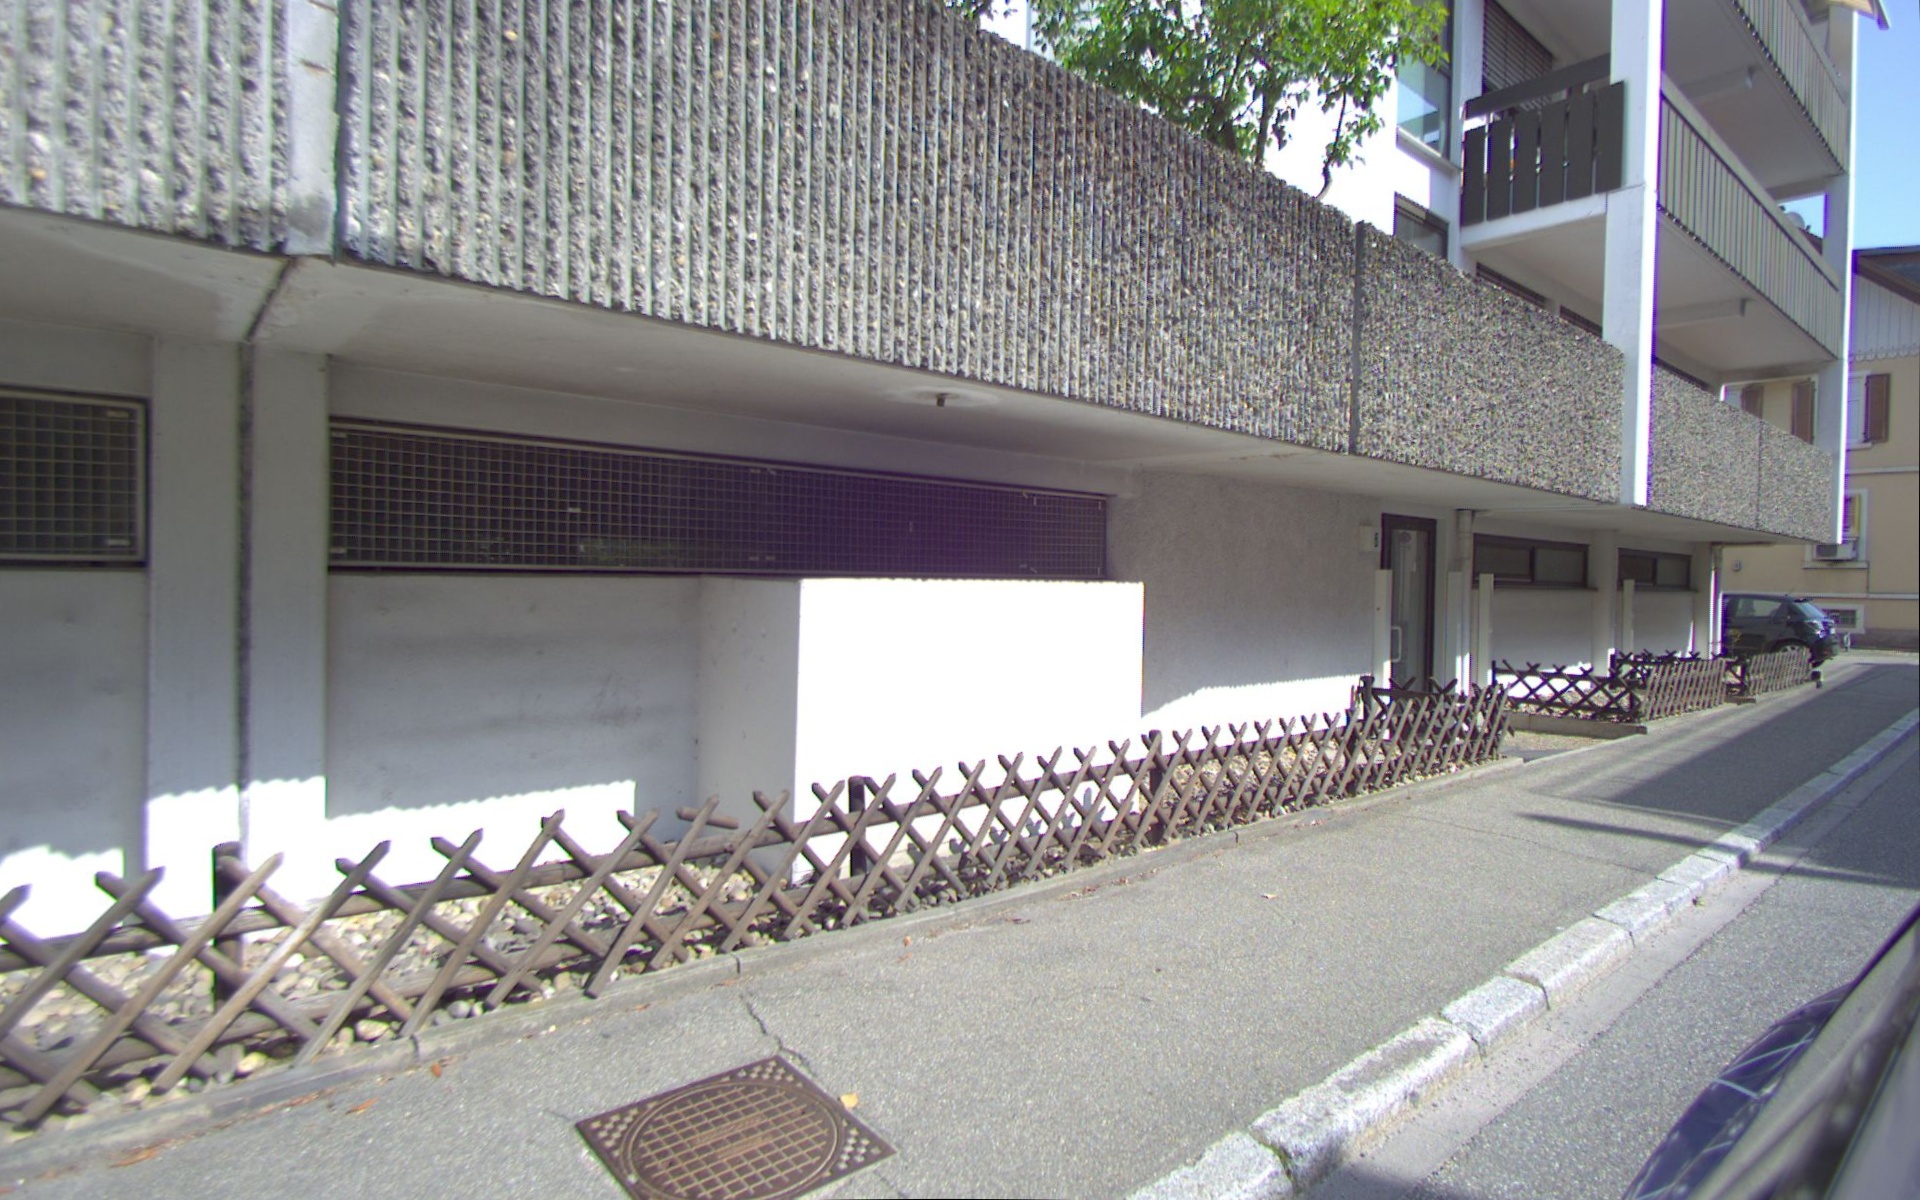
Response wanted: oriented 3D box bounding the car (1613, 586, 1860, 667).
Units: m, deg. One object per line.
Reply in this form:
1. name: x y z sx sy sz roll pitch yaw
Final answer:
1. car: 15.933 0.477 20.903 1.671 1.498 3.832 -1 1 -42
